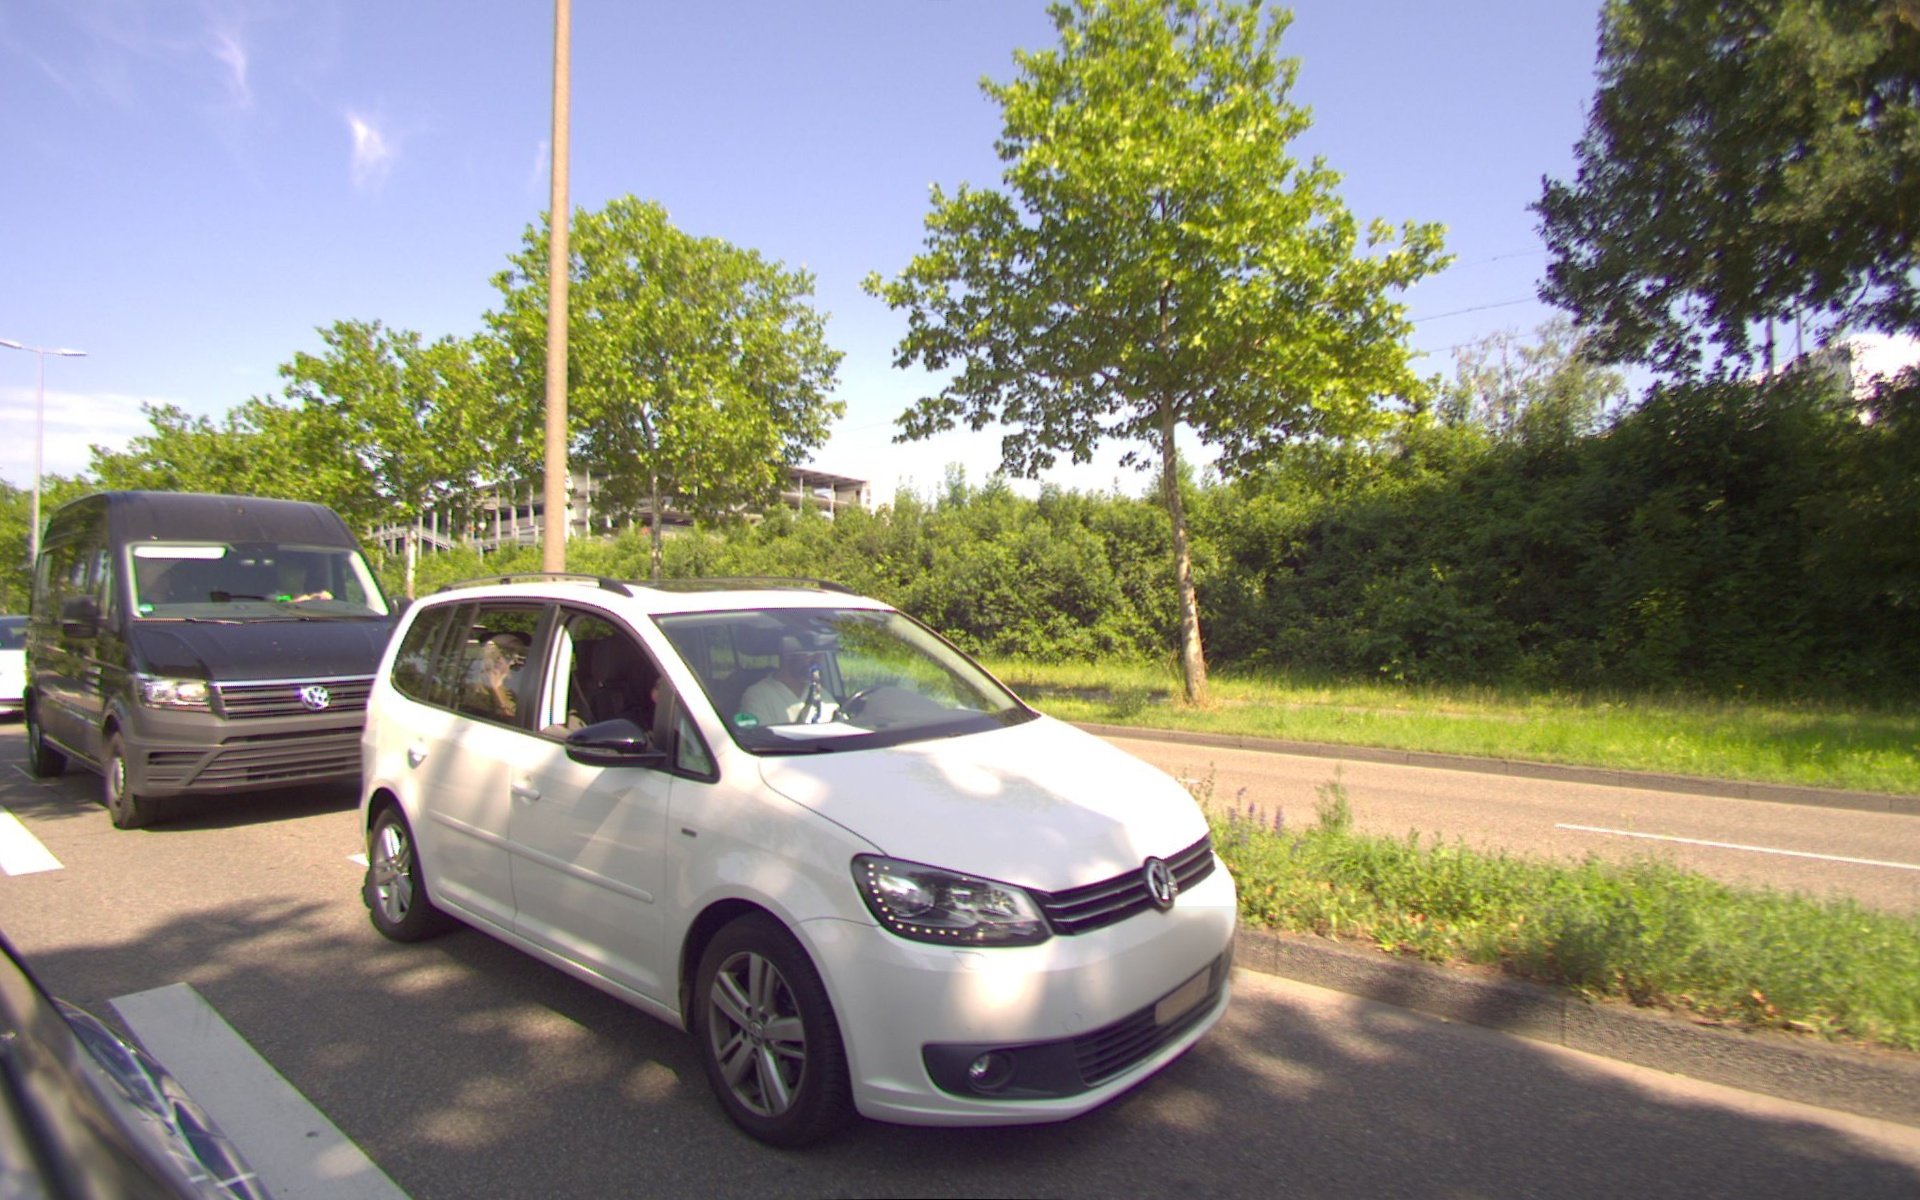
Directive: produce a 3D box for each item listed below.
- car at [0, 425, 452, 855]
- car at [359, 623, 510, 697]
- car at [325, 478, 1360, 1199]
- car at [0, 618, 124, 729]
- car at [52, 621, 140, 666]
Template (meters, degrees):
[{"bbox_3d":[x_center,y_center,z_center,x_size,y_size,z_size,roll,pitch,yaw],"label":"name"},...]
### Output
[{"bbox_3d":[-6.822,0.288,8.990,6.166,2.627,1.994,-1,-1,42],"label":"car"},{"bbox_3d":[-11.791,1.290,22.603,3.999,1.523,1.713,-2,-3,43],"label":"car"},{"bbox_3d":[-0.884,0.625,4.130,4.350,1.660,1.752,-1,-1,42],"label":"car"},{"bbox_3d":[-14.638,1.067,15.795,4.206,1.533,1.800,-2,-2,41],"label":"car"},{"bbox_3d":[-32.241,1.580,37.724,4.172,1.595,1.835,-1,-2,40],"label":"car"}]
